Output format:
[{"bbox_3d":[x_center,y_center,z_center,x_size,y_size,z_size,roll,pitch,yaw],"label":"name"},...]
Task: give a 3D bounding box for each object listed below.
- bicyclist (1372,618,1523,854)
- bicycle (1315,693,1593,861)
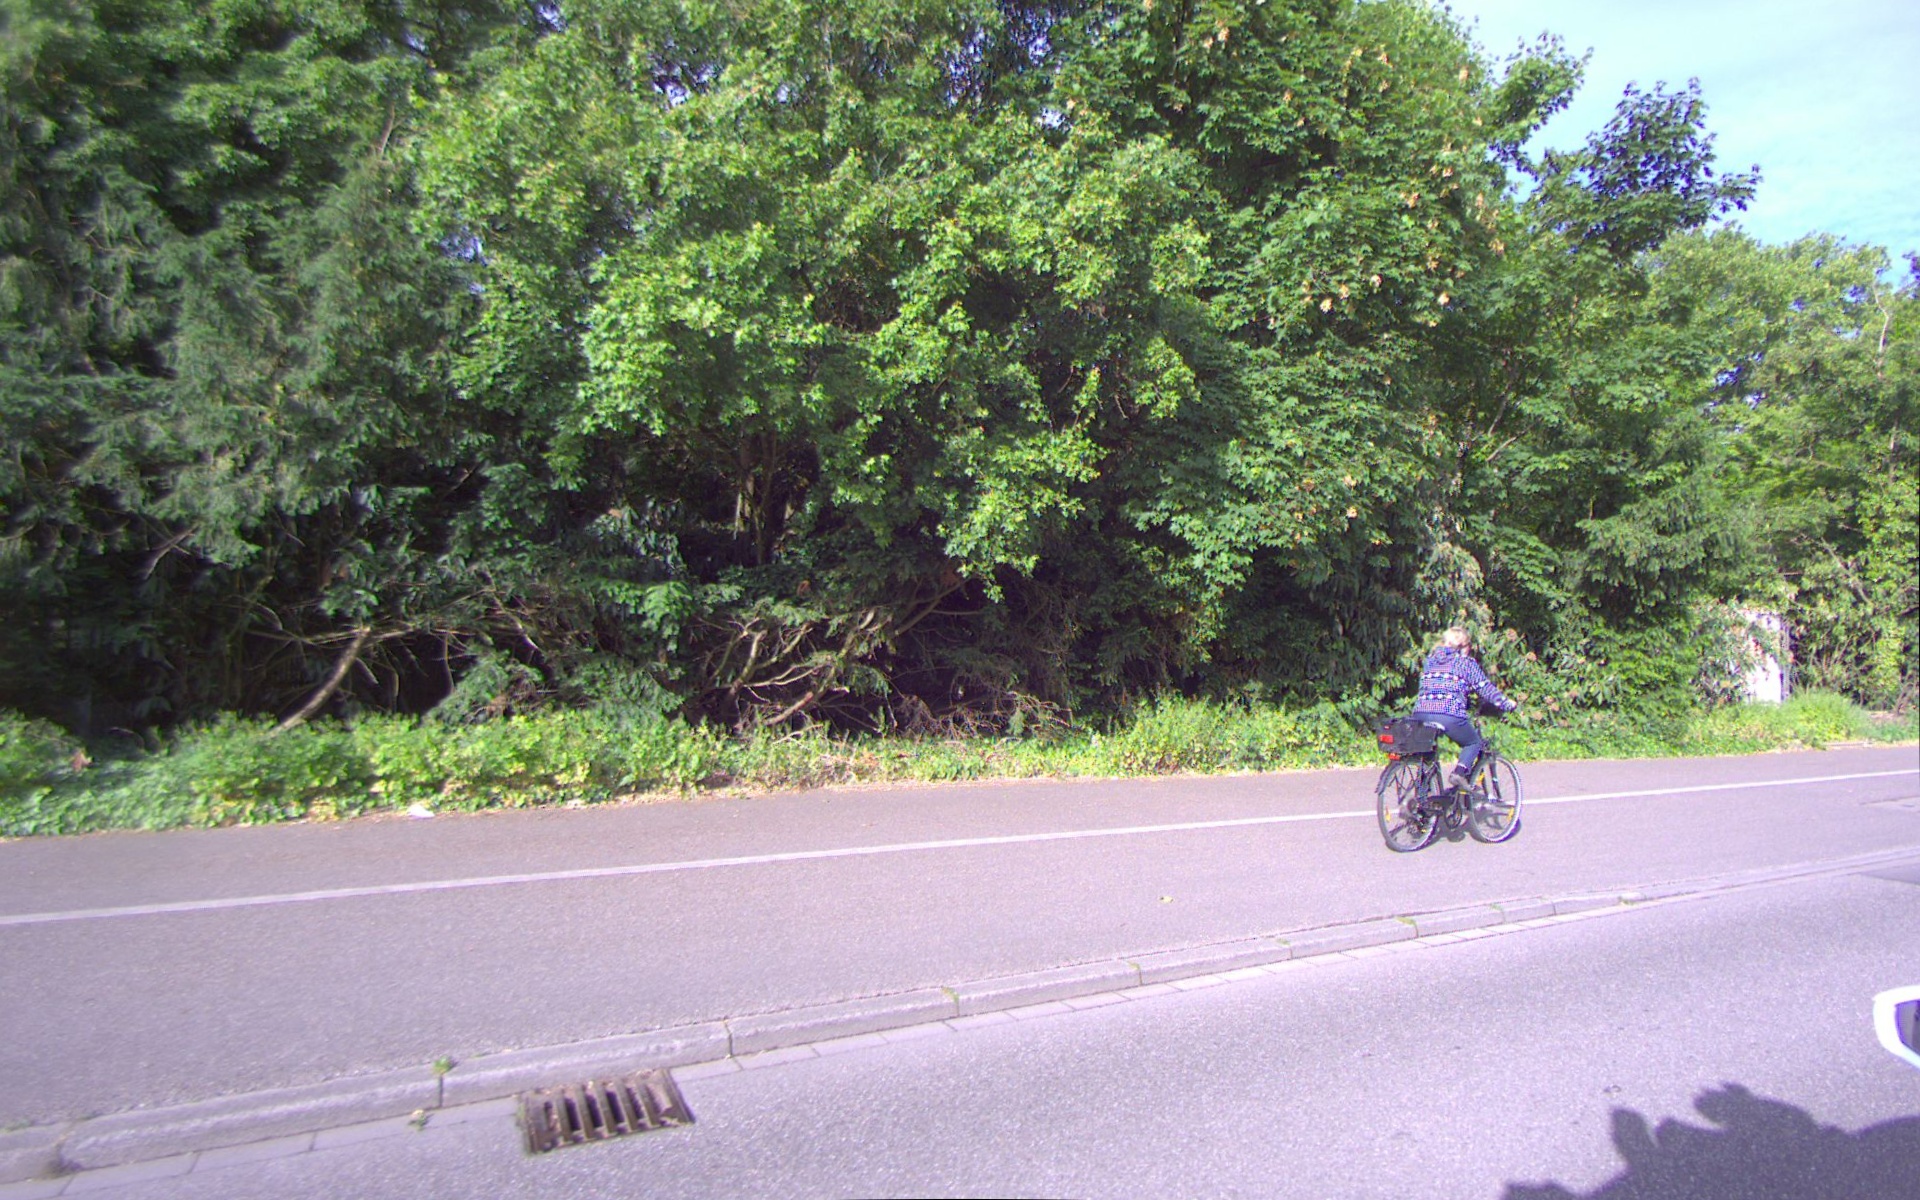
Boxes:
[{"bbox_3d":[3.757,1.006,7.753,0.872,1.699,0.606,2,-1,-27],"label":"bicyclist"},{"bbox_3d":[3.882,1.311,7.826,2.318,1.112,0.660,3,0,-27],"label":"bicycle"}]
